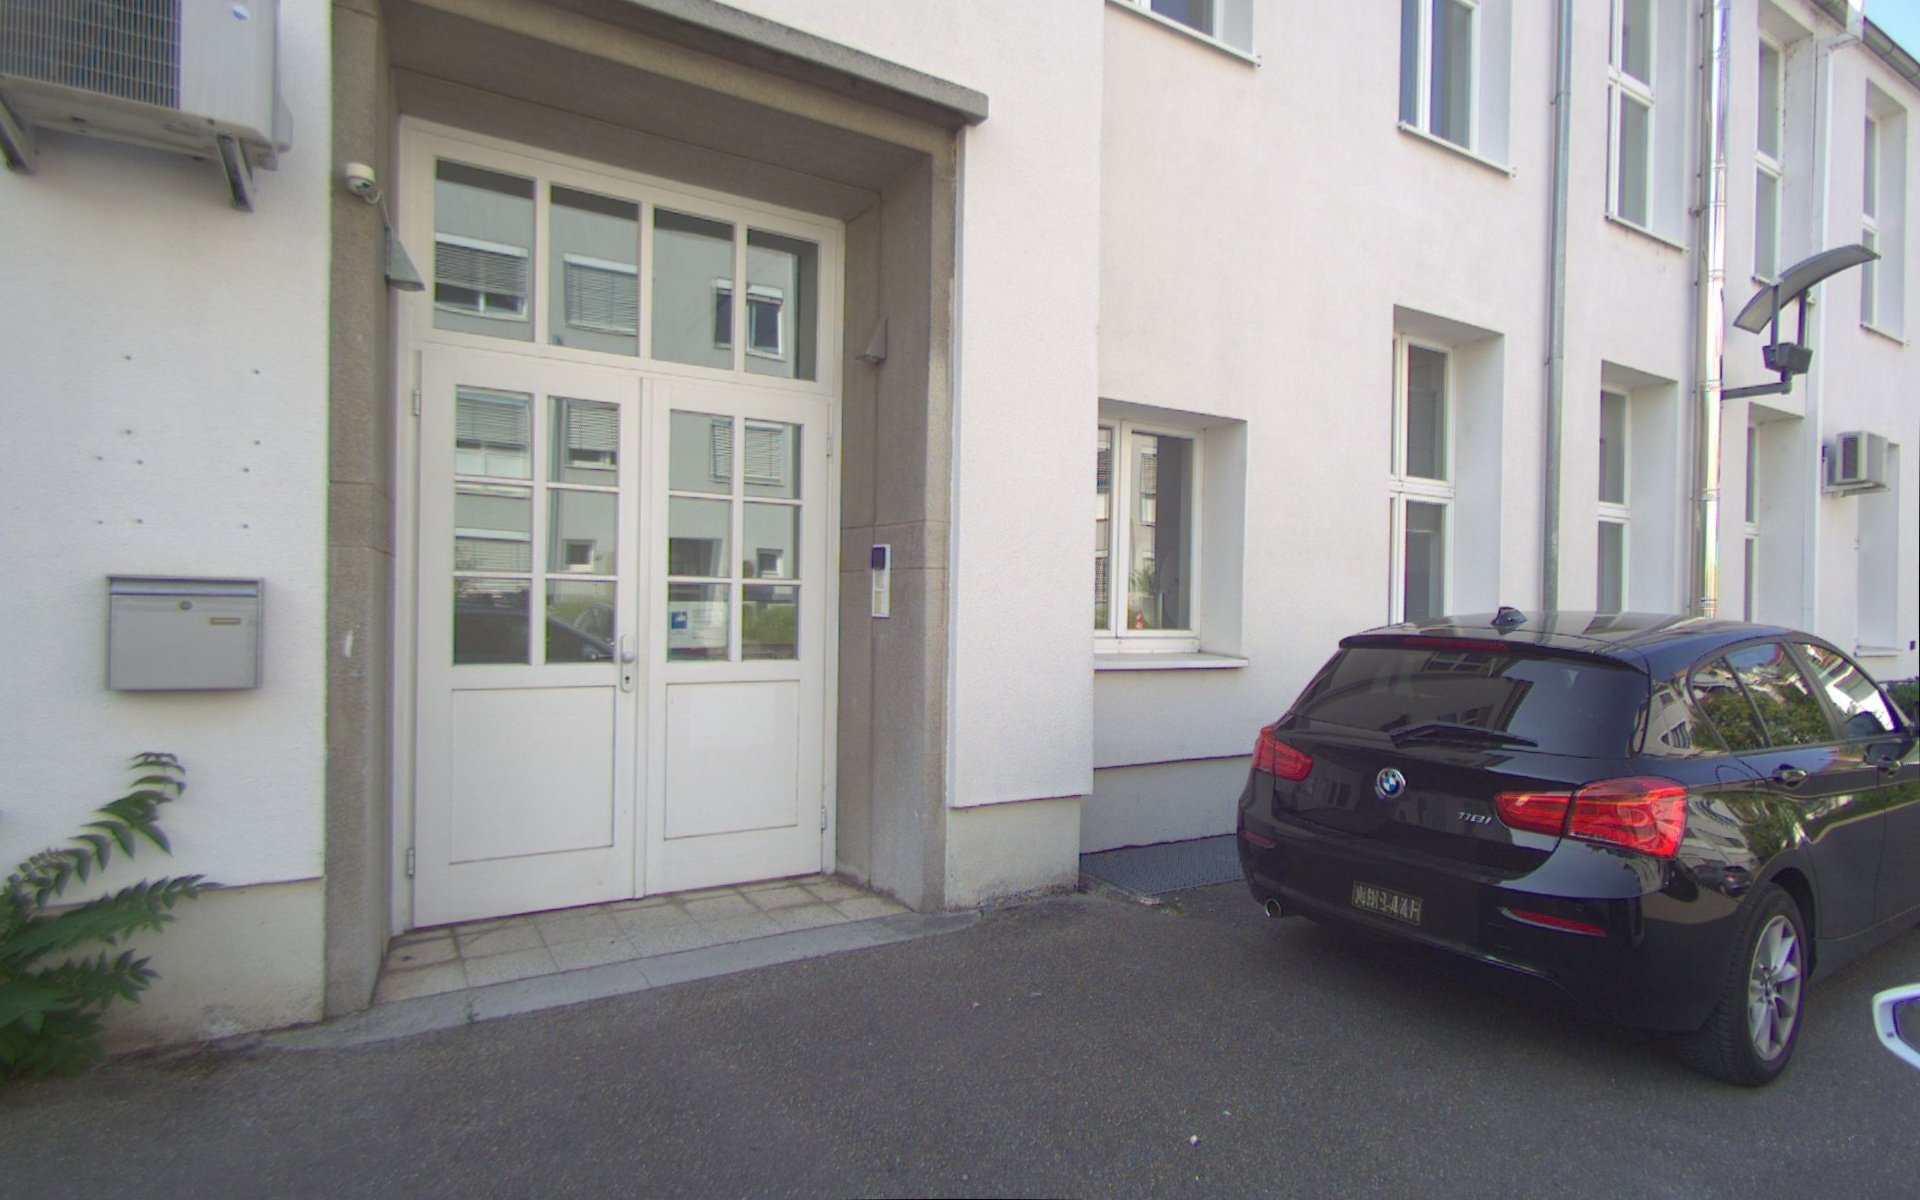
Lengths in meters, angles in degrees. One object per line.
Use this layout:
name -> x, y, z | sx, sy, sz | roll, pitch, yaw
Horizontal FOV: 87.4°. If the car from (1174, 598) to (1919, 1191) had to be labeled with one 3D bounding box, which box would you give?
car -> 2.929, 0.791, 4.303 | 3.881, 1.478, 1.678 | 2, 0, -33
